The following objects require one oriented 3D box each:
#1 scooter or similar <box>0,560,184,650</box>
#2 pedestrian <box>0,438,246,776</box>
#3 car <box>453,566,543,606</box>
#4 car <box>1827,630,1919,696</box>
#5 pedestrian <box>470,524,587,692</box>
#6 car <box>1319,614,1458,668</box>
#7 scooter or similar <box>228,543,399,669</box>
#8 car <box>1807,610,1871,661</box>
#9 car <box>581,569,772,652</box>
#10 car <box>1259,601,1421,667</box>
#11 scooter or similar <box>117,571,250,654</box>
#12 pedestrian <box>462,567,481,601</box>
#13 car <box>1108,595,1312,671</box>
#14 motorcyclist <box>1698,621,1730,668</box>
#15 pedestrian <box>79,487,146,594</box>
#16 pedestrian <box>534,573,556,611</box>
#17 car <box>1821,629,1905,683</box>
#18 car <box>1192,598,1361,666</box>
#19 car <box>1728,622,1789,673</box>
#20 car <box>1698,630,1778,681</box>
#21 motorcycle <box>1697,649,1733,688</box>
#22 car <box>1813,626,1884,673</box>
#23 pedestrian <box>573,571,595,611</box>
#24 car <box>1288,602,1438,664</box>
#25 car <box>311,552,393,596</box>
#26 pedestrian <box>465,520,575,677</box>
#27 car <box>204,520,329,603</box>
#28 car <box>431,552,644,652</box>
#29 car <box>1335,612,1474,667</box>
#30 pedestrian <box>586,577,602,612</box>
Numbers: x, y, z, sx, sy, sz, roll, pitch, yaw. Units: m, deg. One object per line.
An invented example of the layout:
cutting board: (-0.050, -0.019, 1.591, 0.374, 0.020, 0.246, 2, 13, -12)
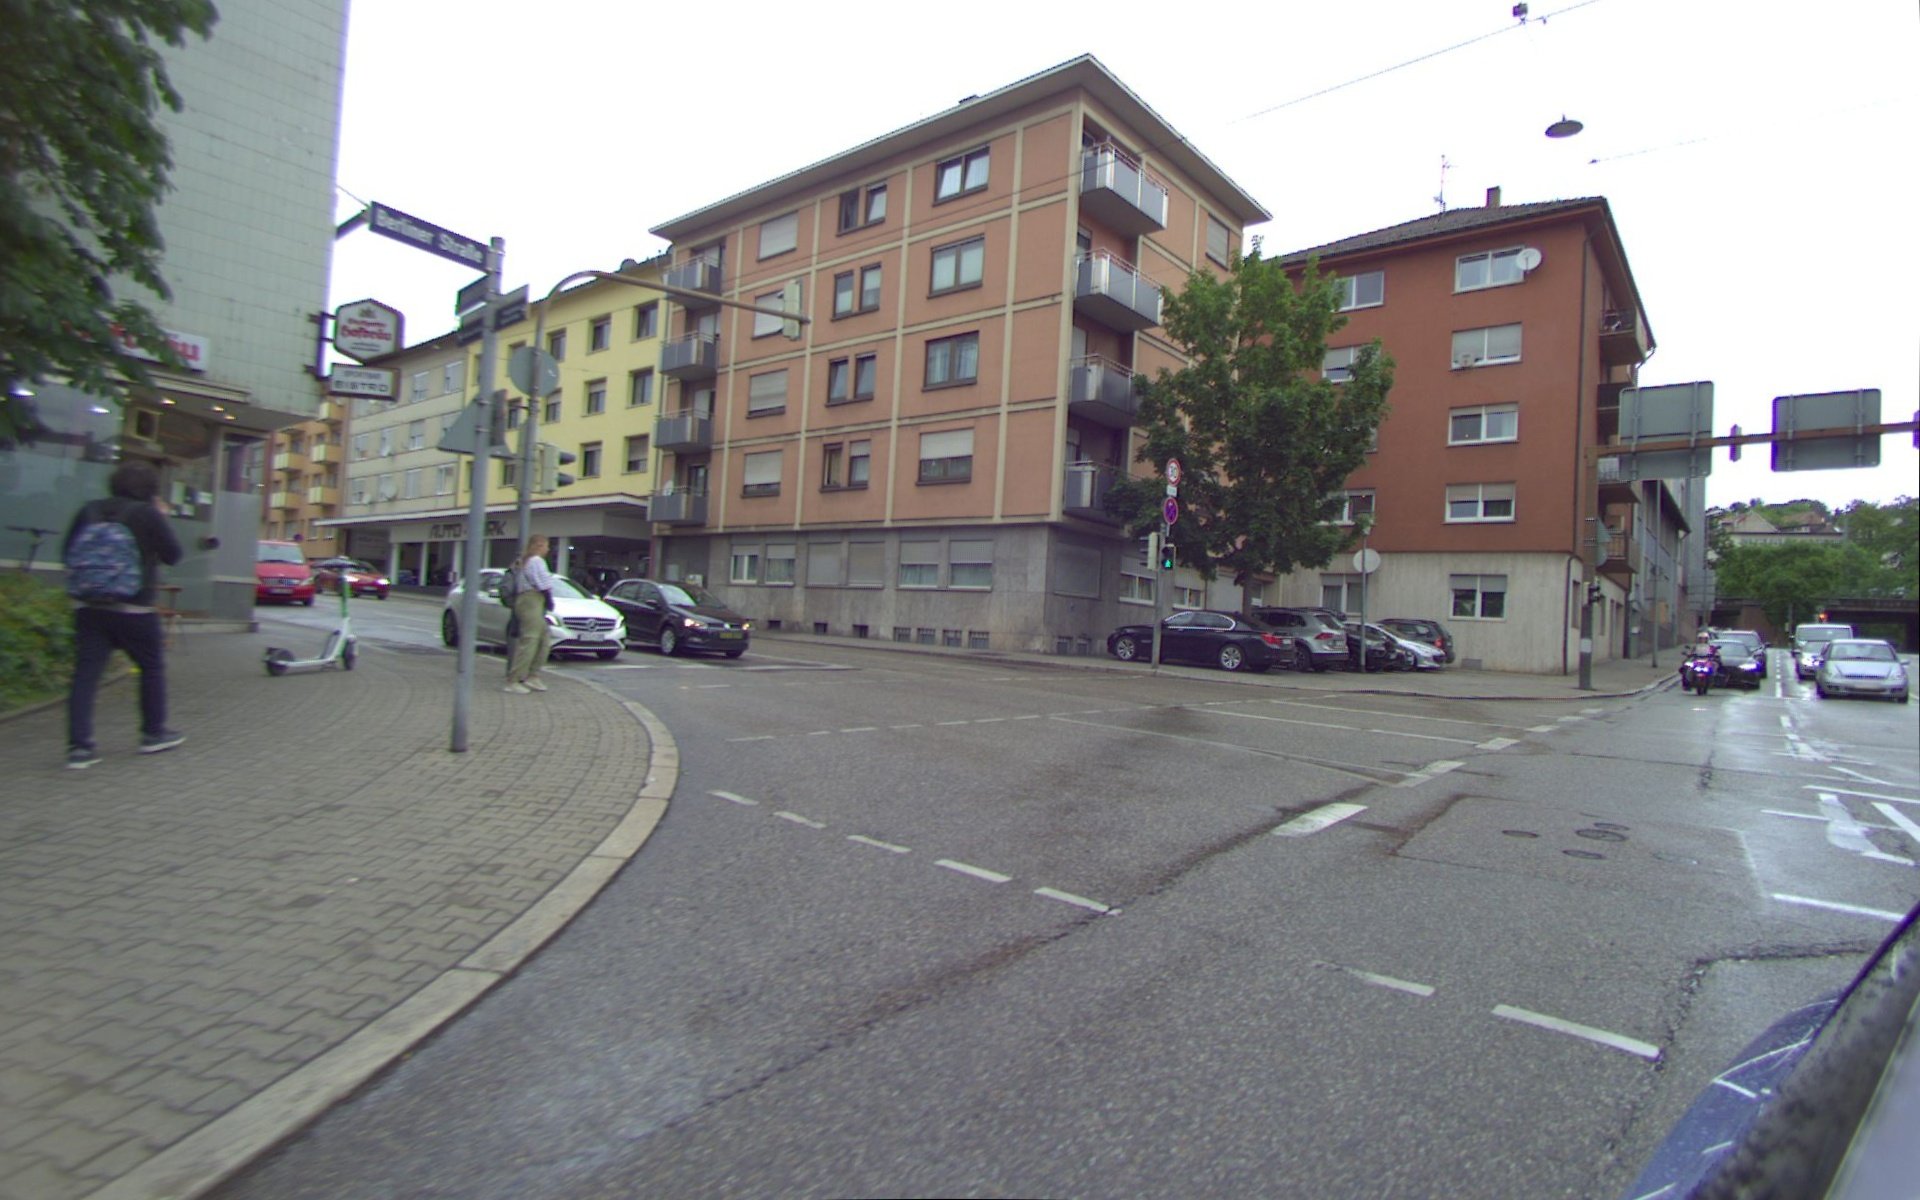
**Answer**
scooter or similar: (-9.288, 0.070, 10.812, 1.435, 0.854, 0.551, 3, -4, -12)
pedestrian: (-5.066, 0.031, 6.125, 0.740, 1.840, 0.918, 4, 0, -2)
car: (-18.413, -0.580, 40.278, 4.054, 1.438, 1.641, 3, 0, 40)
car: (24.613, 1.650, 27.296, 1.833, 1.574, 3.941, 1, -1, 40)
pedestrian: (-4.575, 0.088, 10.782, 0.746, 1.668, 0.709, 6, -2, 5)
car: (14.020, 1.347, 33.299, 1.641, 1.603, 4.002, 5, -4, -31)
scooter or similar: (-6.715, 0.103, 10.613, 0.493, 1.206, 1.555, 2, -4, 11)
car: (36.639, 1.514, 42.186, 1.936, 1.941, 4.780, 0, -4, 41)
car: (-5.767, 0.182, 20.382, 3.984, 1.508, 1.822, 1, -1, 41)
car: (11.005, 0.960, 29.499, 1.956, 1.741, 3.997, 3, -1, -38)
scooter or similar: (-8.558, 0.136, 11.156, 1.305, 0.854, 0.457, 2, -4, 18)
pedestrian: (-23.998, -0.785, 49.699, 0.567, 1.575, 0.514, 5, -1, 41)
car: (6.341, 0.804, 26.064, 4.779, 1.574, 1.821, 4, 0, 43)
motorcyclist: (20.663, 1.218, 27.737, 0.650, 1.239, 0.650, 1, 0, 34)
pedestrian: (-11.865, -0.815, 14.171, 0.575, 1.418, 0.513, 0, -5, 37)
pedestrian: (-17.371, -0.346, 42.395, 0.567, 1.538, 0.514, 5, -1, 41)
car: (29.055, 1.774, 32.660, 1.841, 1.574, 3.942, 1, -1, 40)
car: (8.678, 0.848, 27.917, 3.984, 1.682, 1.963, 1, -1, 42)
car: (30.797, 1.867, 39.047, 1.786, 1.750, 3.942, 0, -4, 39)
car: (24.709, 1.712, 32.248, 1.864, 1.460, 3.947, 0, -1, 36)
motorcycle: (20.731, 1.855, 27.816, 0.633, 0.938, 2.337, -1, -1, 33)
car: (32.177, 1.763, 36.687, 1.842, 1.574, 3.940, 1, -1, 41)
pedestrian: (-15.508, -0.375, 41.735, 0.556, 1.586, 0.473, 5, -1, 41)
car: (12.598, 1.000, 31.786, 1.768, 1.720, 3.995, 5, -3, -40)
car: (-25.558, -1.069, 42.507, 3.984, 1.695, 1.821, 1, -2, 42)
pedestrian: (-5.002, -0.009, 11.552, 0.746, 1.668, 0.709, 6, -2, 5)
car: (-21.022, -1.101, 30.620, 4.602, 2.270, 2.040, 1, -2, 42)
car: (-7.366, 0.017, 17.491, 3.984, 1.532, 1.822, 1, -1, 41)
car: (15.556, 1.369, 35.560, 1.963, 1.728, 3.996, 5, -4, -37)
pedestrian: (-15.194, -0.219, 42.039, 0.368, 1.416, 0.359, 5, -1, 41)
